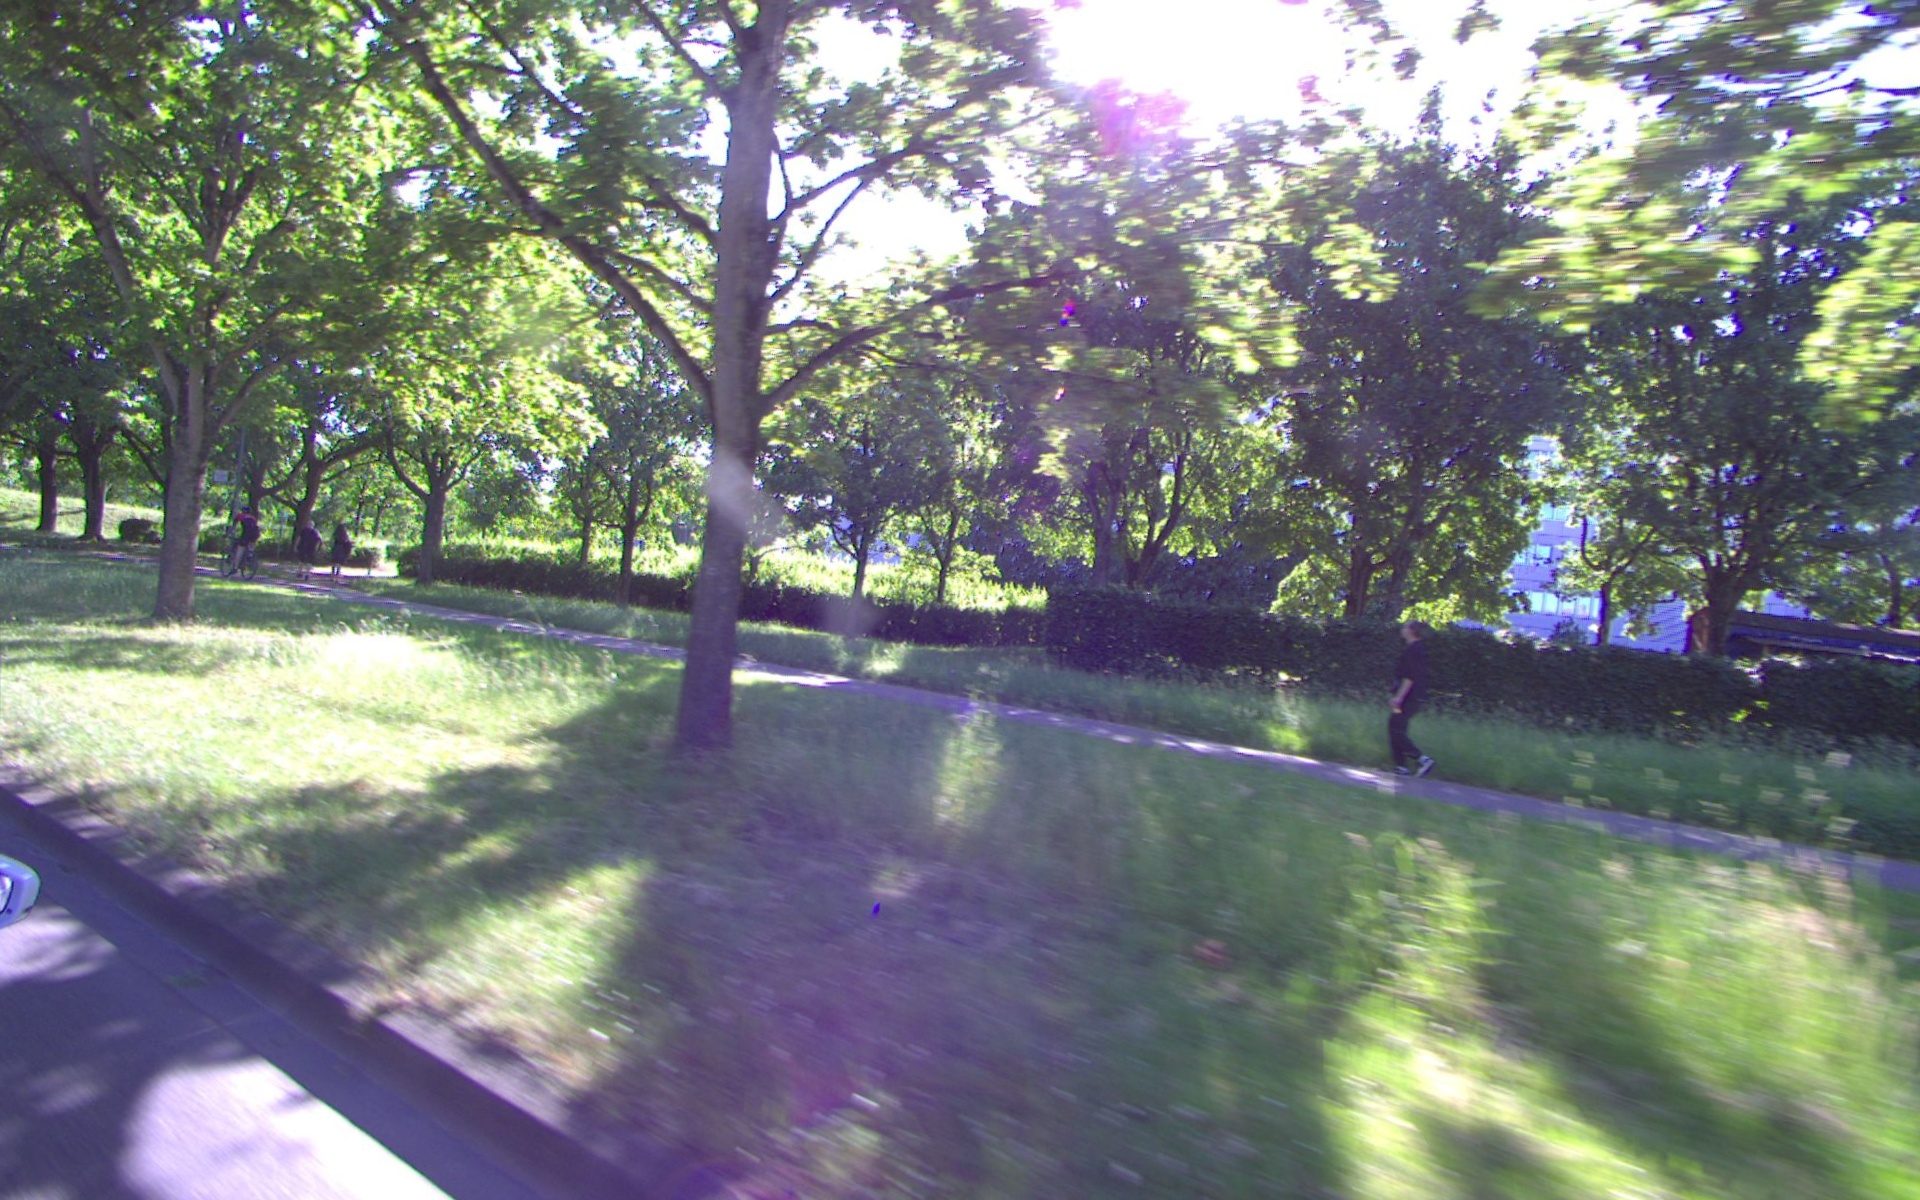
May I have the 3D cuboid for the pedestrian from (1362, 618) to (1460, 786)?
[{"bbox_3d":[5.287,1.175,11.778,0.781,1.825,0.716,6,0,31],"label":"pedestrian"}]

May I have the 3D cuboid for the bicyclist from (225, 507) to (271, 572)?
[{"bbox_3d":[-17.292,-1.464,24.441,0.785,1.468,0.837,6,0,-36],"label":"bicyclist"}]

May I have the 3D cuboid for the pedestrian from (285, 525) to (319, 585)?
[{"bbox_3d":[-19.089,-1.311,29.197,0.833,1.642,0.545,6,0,44],"label":"pedestrian"}]

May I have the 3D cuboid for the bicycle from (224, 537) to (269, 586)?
[{"bbox_3d":[-17.361,-0.946,24.466,0.790,1.060,2.121,6,0,-36],"label":"bicycle"}]

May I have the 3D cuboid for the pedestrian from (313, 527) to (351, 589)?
[{"bbox_3d":[-18.394,-1.238,29.442,0.833,1.713,0.634,6,0,44],"label":"pedestrian"}]
